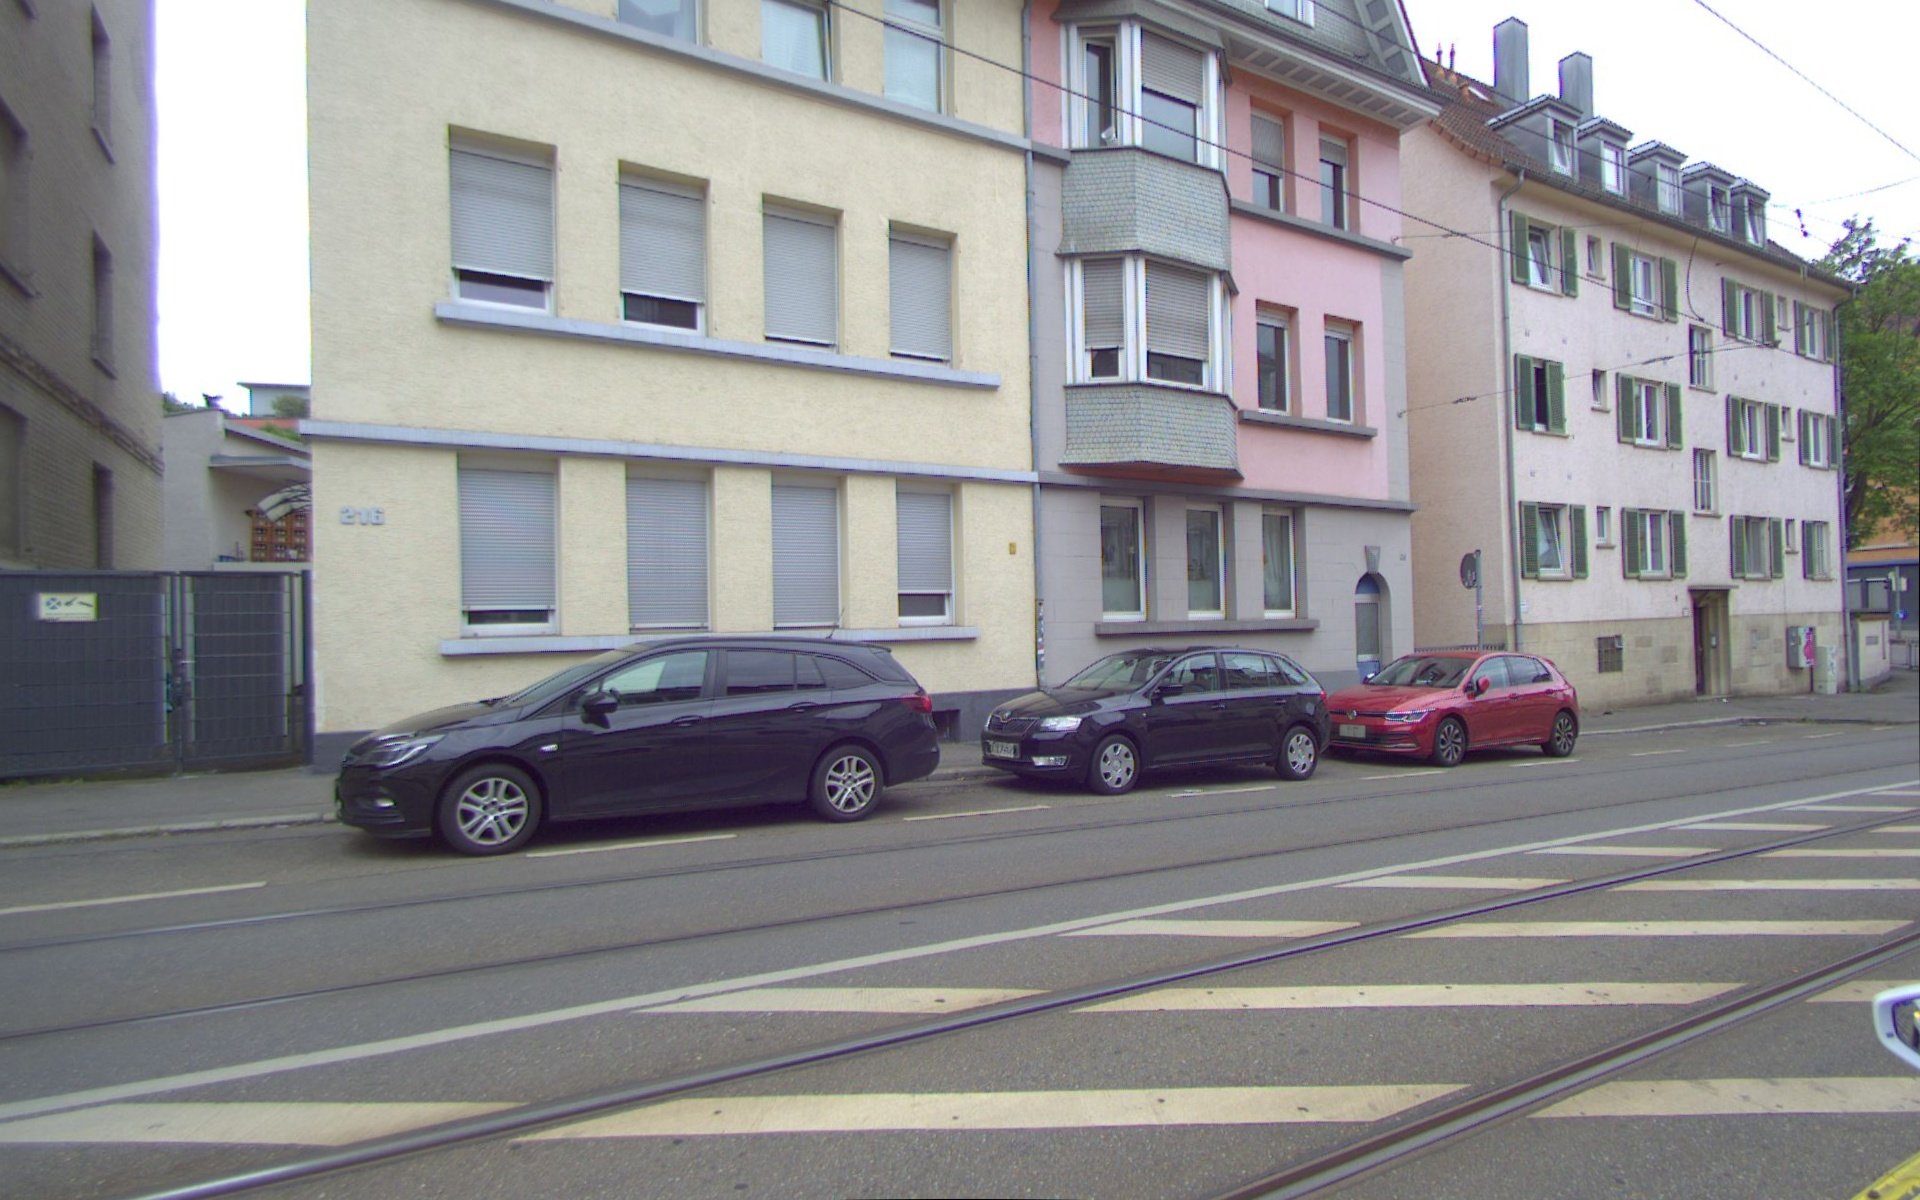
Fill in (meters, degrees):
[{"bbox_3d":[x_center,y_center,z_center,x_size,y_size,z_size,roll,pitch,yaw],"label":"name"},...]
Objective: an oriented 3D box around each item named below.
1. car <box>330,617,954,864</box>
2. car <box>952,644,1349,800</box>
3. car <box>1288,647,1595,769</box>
[{"bbox_3d":[-2.408,0.987,8.163,4.473,1.530,1.777,2,-4,-30],"label":"car"},{"bbox_3d":[2.150,1.233,11.068,4.192,1.429,1.777,2,-4,-30],"label":"car"},{"bbox_3d":[6.694,1.408,13.883,4.211,1.457,1.777,2,-4,-30],"label":"car"}]
